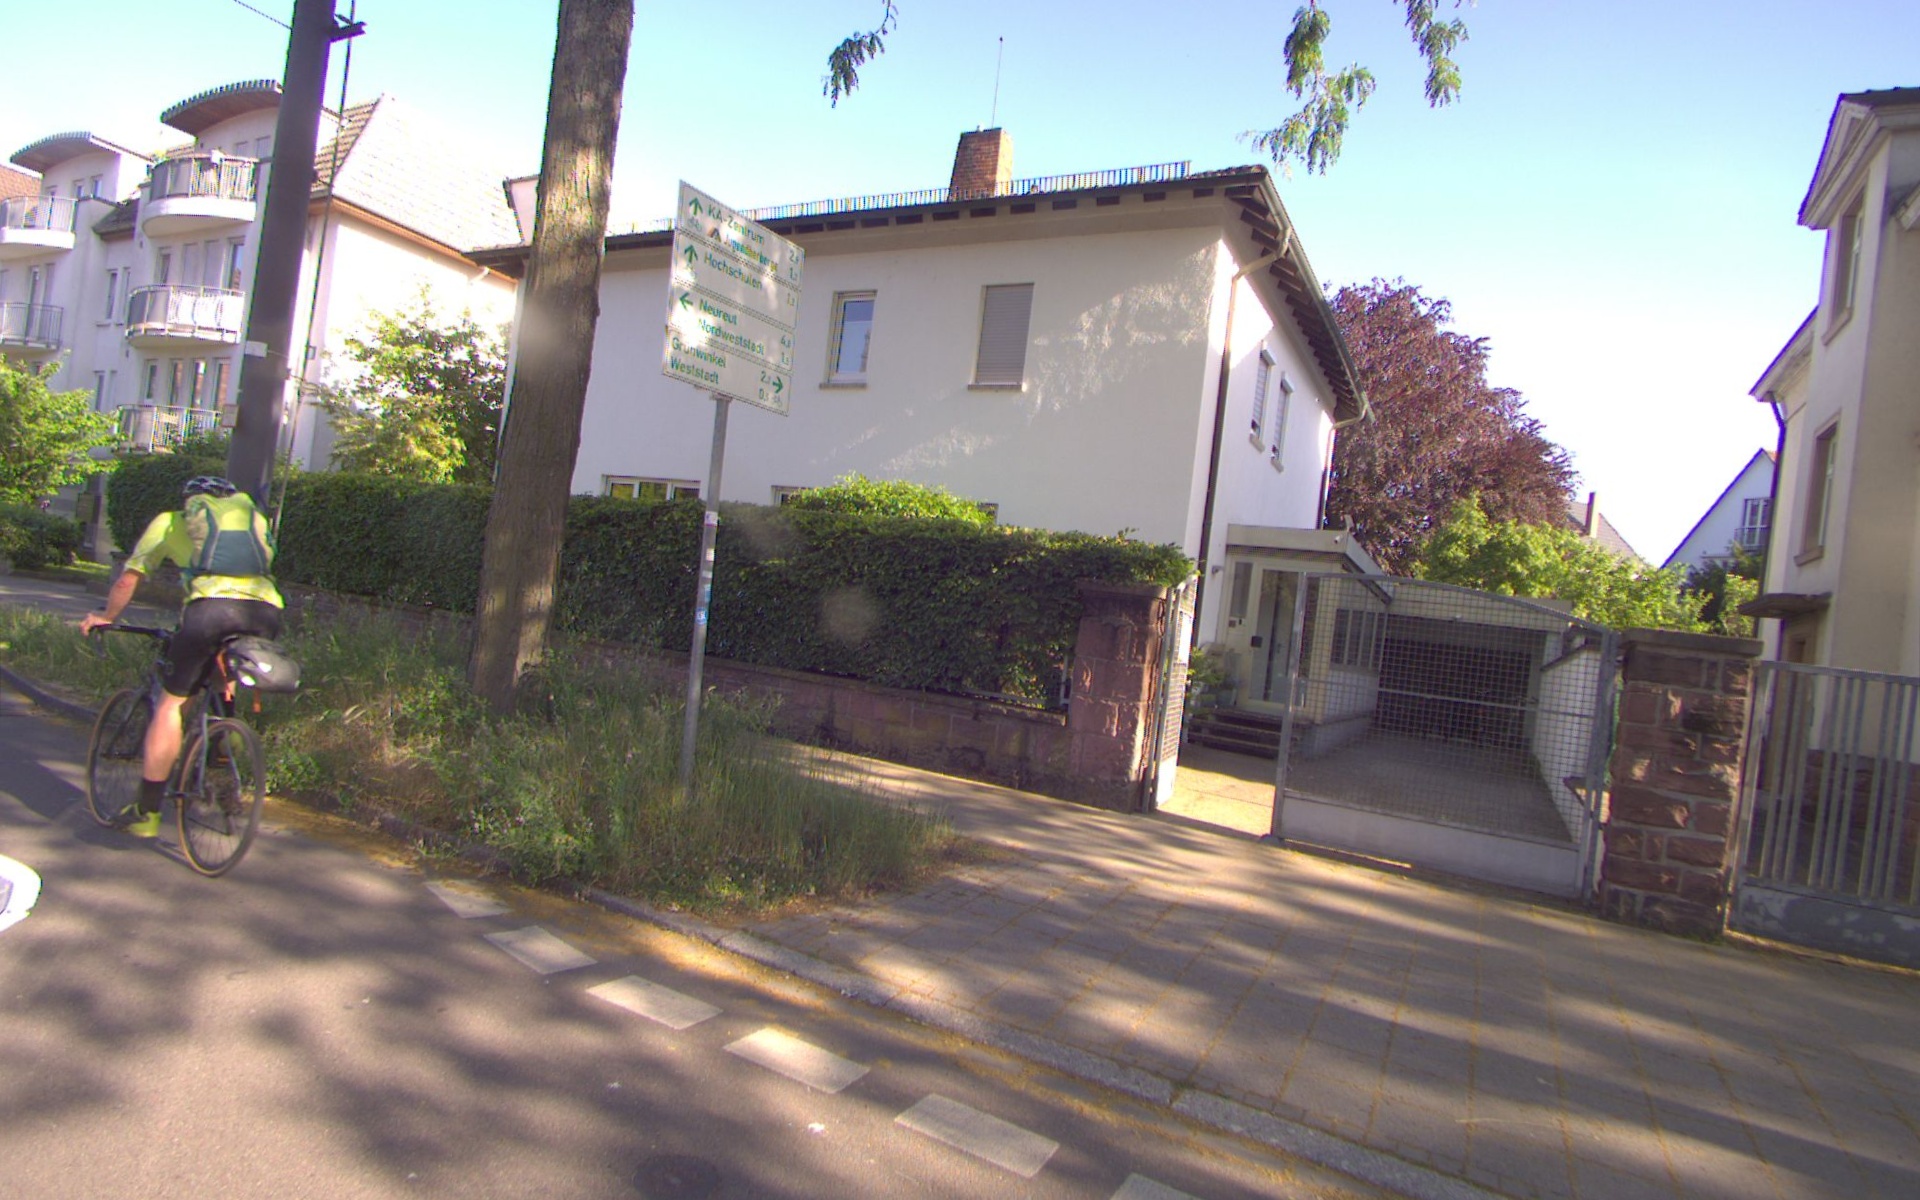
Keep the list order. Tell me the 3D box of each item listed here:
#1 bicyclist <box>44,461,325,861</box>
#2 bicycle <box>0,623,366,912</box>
[{"bbox_3d":[-3.622,0.260,4.712,0.733,1.678,0.677,7,0,31],"label":"bicyclist"},{"bbox_3d":[-3.682,0.698,4.719,1.854,0.936,0.677,7,-1,32],"label":"bicycle"}]
